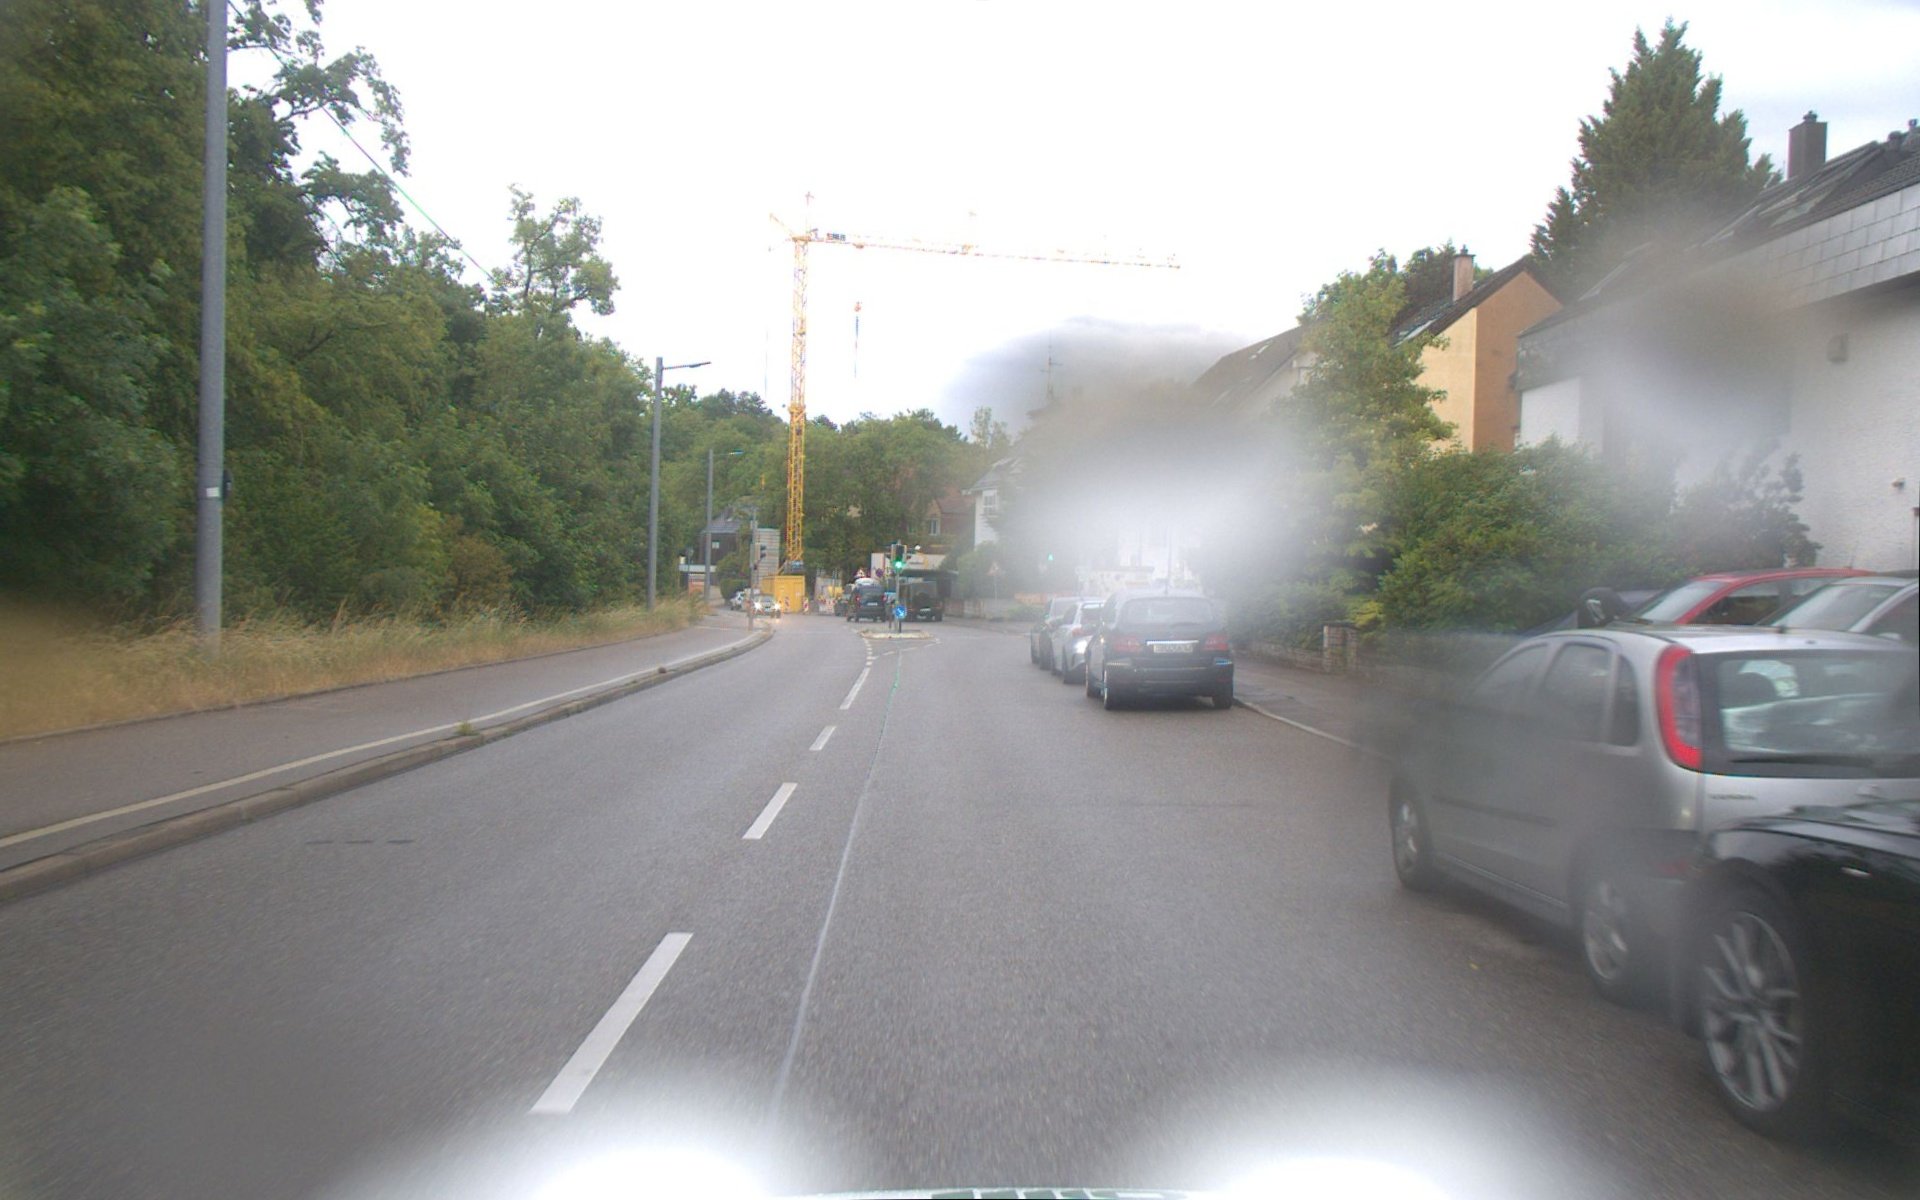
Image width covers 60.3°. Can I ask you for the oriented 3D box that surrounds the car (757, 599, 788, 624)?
[{"bbox_3d":[-11.343,0.714,100.228,1.709,1.485,4.410,0,0,-4],"label":"car"}]

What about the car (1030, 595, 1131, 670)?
[{"bbox_3d":[2.489,0.661,35.044,1.716,1.468,4.599,0,-1,-1],"label":"car"}]

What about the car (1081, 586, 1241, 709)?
[{"bbox_3d":[2.800,0.597,23.902,1.695,1.595,4.521,0,1,-1],"label":"car"}]

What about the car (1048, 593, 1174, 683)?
[{"bbox_3d":[2.665,0.670,30.085,1.757,1.513,4.493,0,-1,-2],"label":"car"}]

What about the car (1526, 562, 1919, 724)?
[{"bbox_3d":[8.301,0.439,18.017,3.584,1.593,1.882,-1,0,-2],"label":"car"}]

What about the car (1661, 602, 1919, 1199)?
[{"bbox_3d":[3.279,0.788,3.170,1.793,1.574,4.628,0,-1,-2],"label":"car"}]

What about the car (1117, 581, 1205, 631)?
[{"bbox_3d":[7.230,0.211,59.941,1.897,1.624,4.331,3,-1,-10],"label":"car"}]

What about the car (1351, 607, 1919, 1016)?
[{"bbox_3d":[3.307,0.769,7.872,1.776,1.422,4.100,0,-1,-3],"label":"car"}]

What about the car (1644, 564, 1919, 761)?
[{"bbox_3d":[8.406,0.487,15.021,3.586,1.563,1.827,-3,0,-4],"label":"car"}]

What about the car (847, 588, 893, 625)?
[{"bbox_3d":[-4.636,0.324,84.675,1.896,1.782,3.992,1,0,-9],"label":"car"}]

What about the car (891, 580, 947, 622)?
[{"bbox_3d":[-2.142,0.045,84.973,1.959,2.049,4.940,-2,0,-13],"label":"car"}]

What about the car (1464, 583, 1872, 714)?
[{"bbox_3d":[8.493,0.574,20.090,4.159,1.486,1.882,0,-1,-2],"label":"car"}]
